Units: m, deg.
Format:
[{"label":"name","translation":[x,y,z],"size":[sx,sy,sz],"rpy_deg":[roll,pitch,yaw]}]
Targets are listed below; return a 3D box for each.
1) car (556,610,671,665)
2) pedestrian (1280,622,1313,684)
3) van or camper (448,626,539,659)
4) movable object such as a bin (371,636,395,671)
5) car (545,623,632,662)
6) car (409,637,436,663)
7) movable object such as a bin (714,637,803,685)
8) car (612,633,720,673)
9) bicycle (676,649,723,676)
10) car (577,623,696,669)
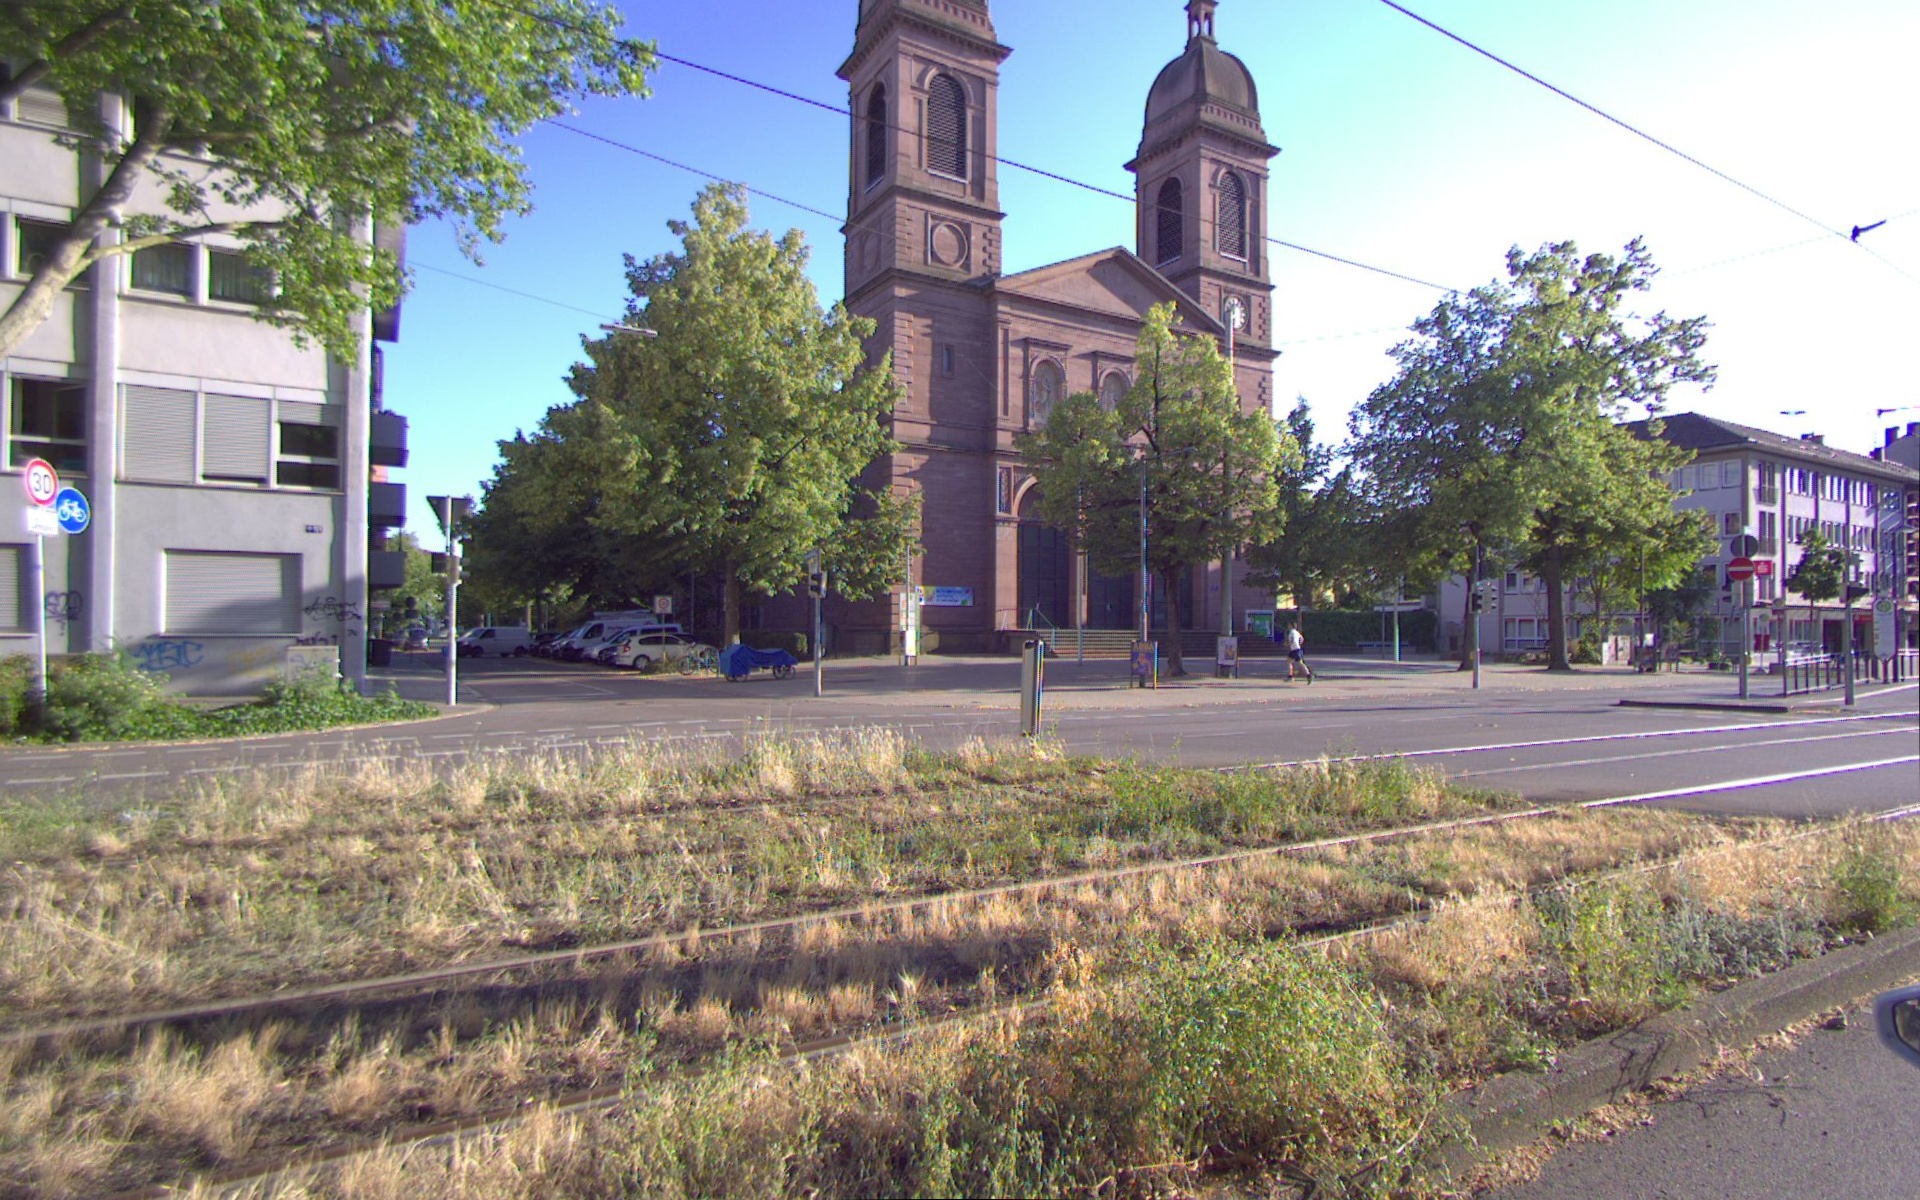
[{"label":"car","translation":[-18.293,1.977,53.114],"size":[5.382,2.710,1.980],"rpy_deg":[2,0,-36]},{"label":"pedestrian","translation":[9.927,1.562,29.657],"size":[0.680,1.794,0.675],"rpy_deg":[1,-2,-36]},{"label":"van or camper","translation":[-30.224,2.734,65.214],"size":[1.966,2.040,5.123],"rpy_deg":[-1,-2,32]},{"label":"movable object such as a bin","translation":[-22.301,2.042,38.811],"size":[0.737,1.323,0.865],"rpy_deg":[1,-2,-32]},{"label":"car","translation":[-20.422,2.320,55.272],"size":[4.174,2.040,1.981],"rpy_deg":[2,0,-34]},{"label":"car","translation":[-45.767,4.226,85.475],"size":[1.976,2.040,3.970],"rpy_deg":[1,-2,-29]},{"label":"movable object such as a bin","translation":[-6.152,1.841,30.717],"size":[2.416,1.228,1.102],"rpy_deg":[-3,2,-30]},{"label":"car","translation":[-12.225,2.190,41.827],"size":[3.953,1.479,1.984],"rpy_deg":[2,0,-30]},{"label":"bicycle","translation":[-9.060,2.174,34.967],"size":[1.517,0.904,0.465],"rpy_deg":[2,0,-27]},{"label":"car","translation":[-15.520,2.191,48.321],"size":[5.121,2.040,1.981],"rpy_deg":[2,0,-34]}]
